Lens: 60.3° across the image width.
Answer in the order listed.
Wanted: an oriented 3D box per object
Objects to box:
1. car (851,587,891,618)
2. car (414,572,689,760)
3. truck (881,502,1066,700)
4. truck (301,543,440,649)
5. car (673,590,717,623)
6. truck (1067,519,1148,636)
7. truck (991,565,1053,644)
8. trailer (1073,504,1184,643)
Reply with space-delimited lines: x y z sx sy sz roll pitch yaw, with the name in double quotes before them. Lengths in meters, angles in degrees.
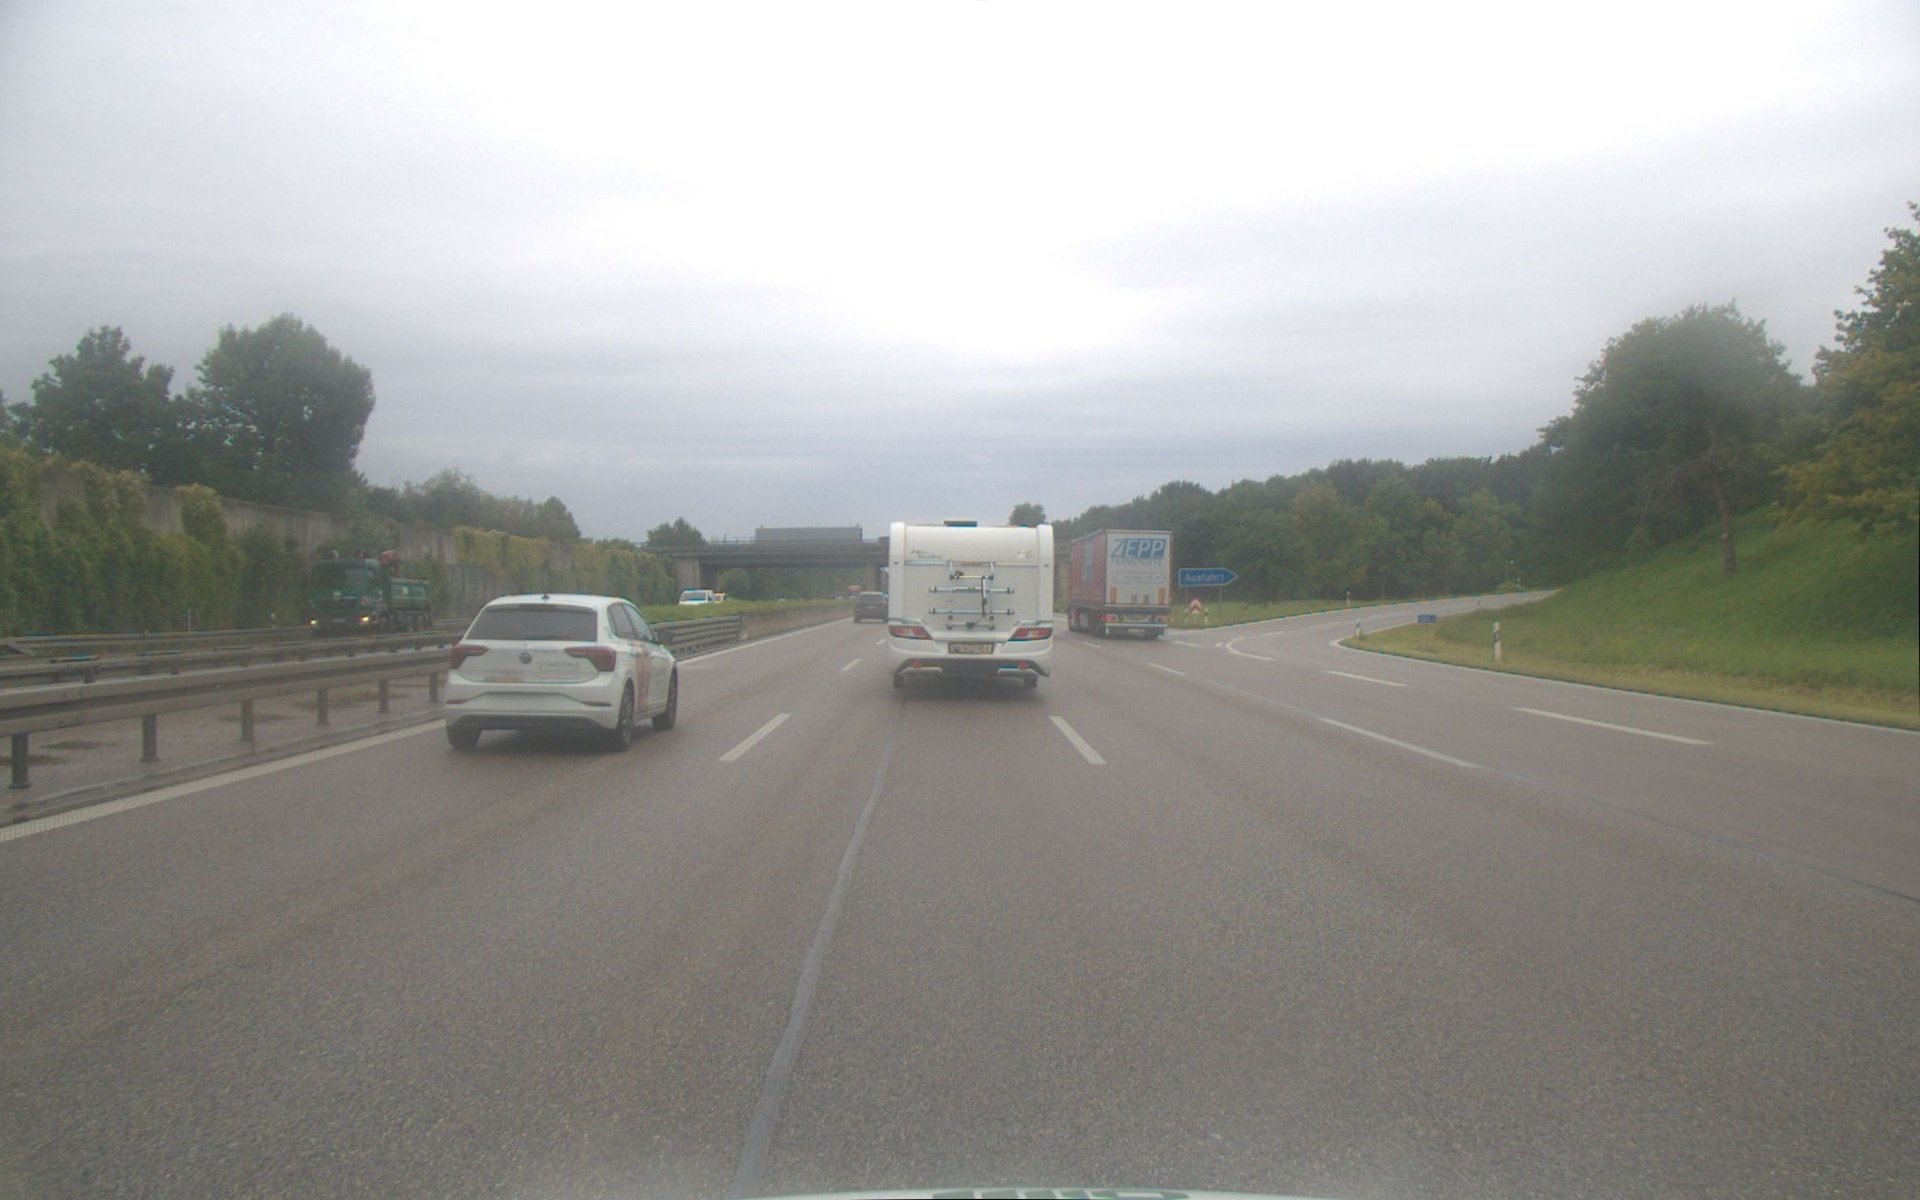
"car" -4.833 0.141 90.694 1.953 1.628 5.122 1 0 -1
"car" -3.986 0.575 16.928 1.717 1.646 4.663 0 0 -1
"truck" 0.150 0.021 26.163 2.607 2.790 5.076 1 0 -1
"truck" -22.951 -0.143 64.882 2.637 3.843 8.334 1 0 -2
"car" -16.574 0.393 103.800 2.038 2.049 5.193 0 0 -2
"truck" 6.480 -0.951 73.455 2.986 4.924 5.849 1 0 -1
"truck" 2.290 0.173 62.369 2.011 2.818 5.547 1 0 -1
"trailer" 6.553 -0.957 66.271 3.037 5.008 11.788 1 0 -1
